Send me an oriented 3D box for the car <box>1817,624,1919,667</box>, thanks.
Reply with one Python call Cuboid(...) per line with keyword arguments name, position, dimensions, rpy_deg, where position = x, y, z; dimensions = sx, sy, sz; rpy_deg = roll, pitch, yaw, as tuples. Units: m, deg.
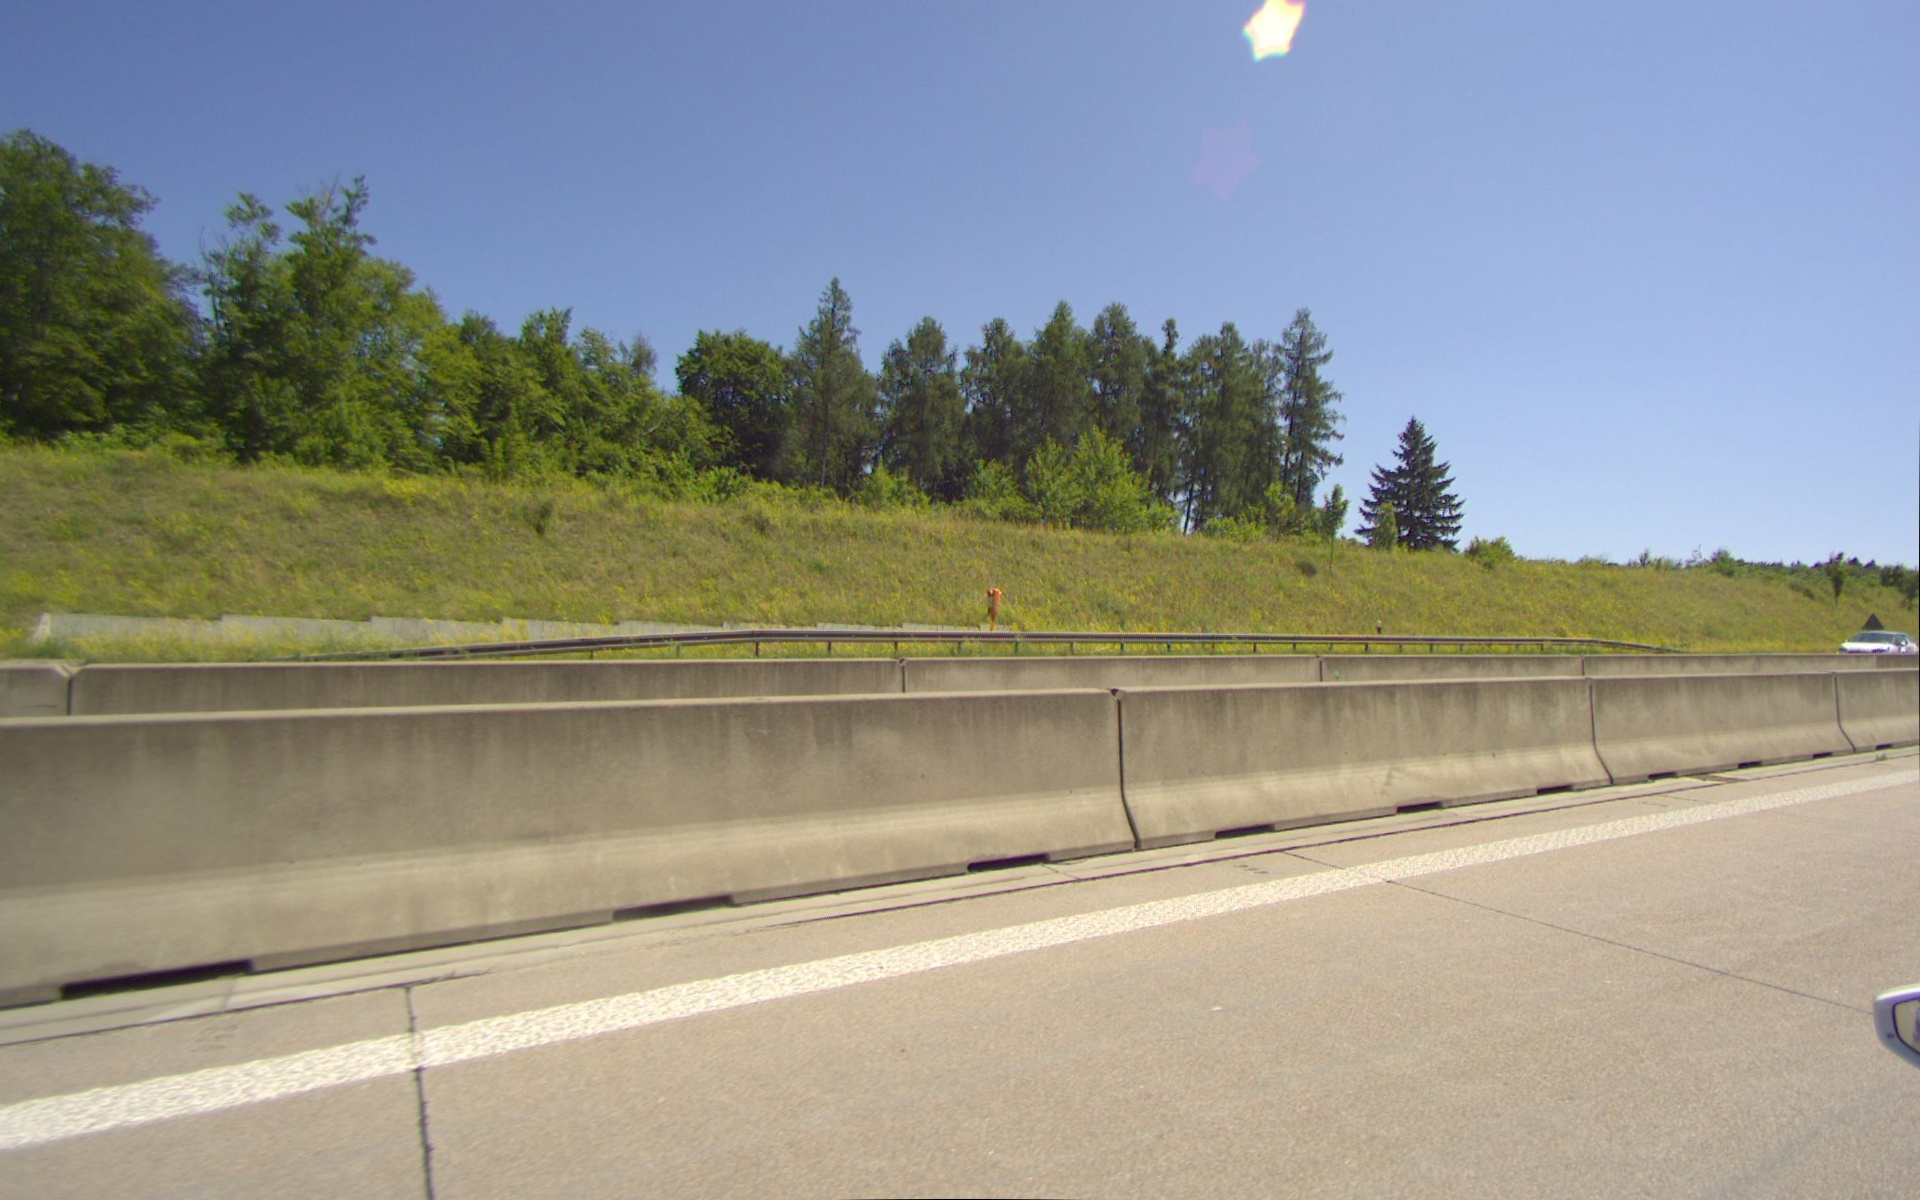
Cuboid(name="car", position=(36.145, 1.804, 39.965), dimensions=(3.955, 1.585, 1.983), rpy_deg=(2, 0, -31))
